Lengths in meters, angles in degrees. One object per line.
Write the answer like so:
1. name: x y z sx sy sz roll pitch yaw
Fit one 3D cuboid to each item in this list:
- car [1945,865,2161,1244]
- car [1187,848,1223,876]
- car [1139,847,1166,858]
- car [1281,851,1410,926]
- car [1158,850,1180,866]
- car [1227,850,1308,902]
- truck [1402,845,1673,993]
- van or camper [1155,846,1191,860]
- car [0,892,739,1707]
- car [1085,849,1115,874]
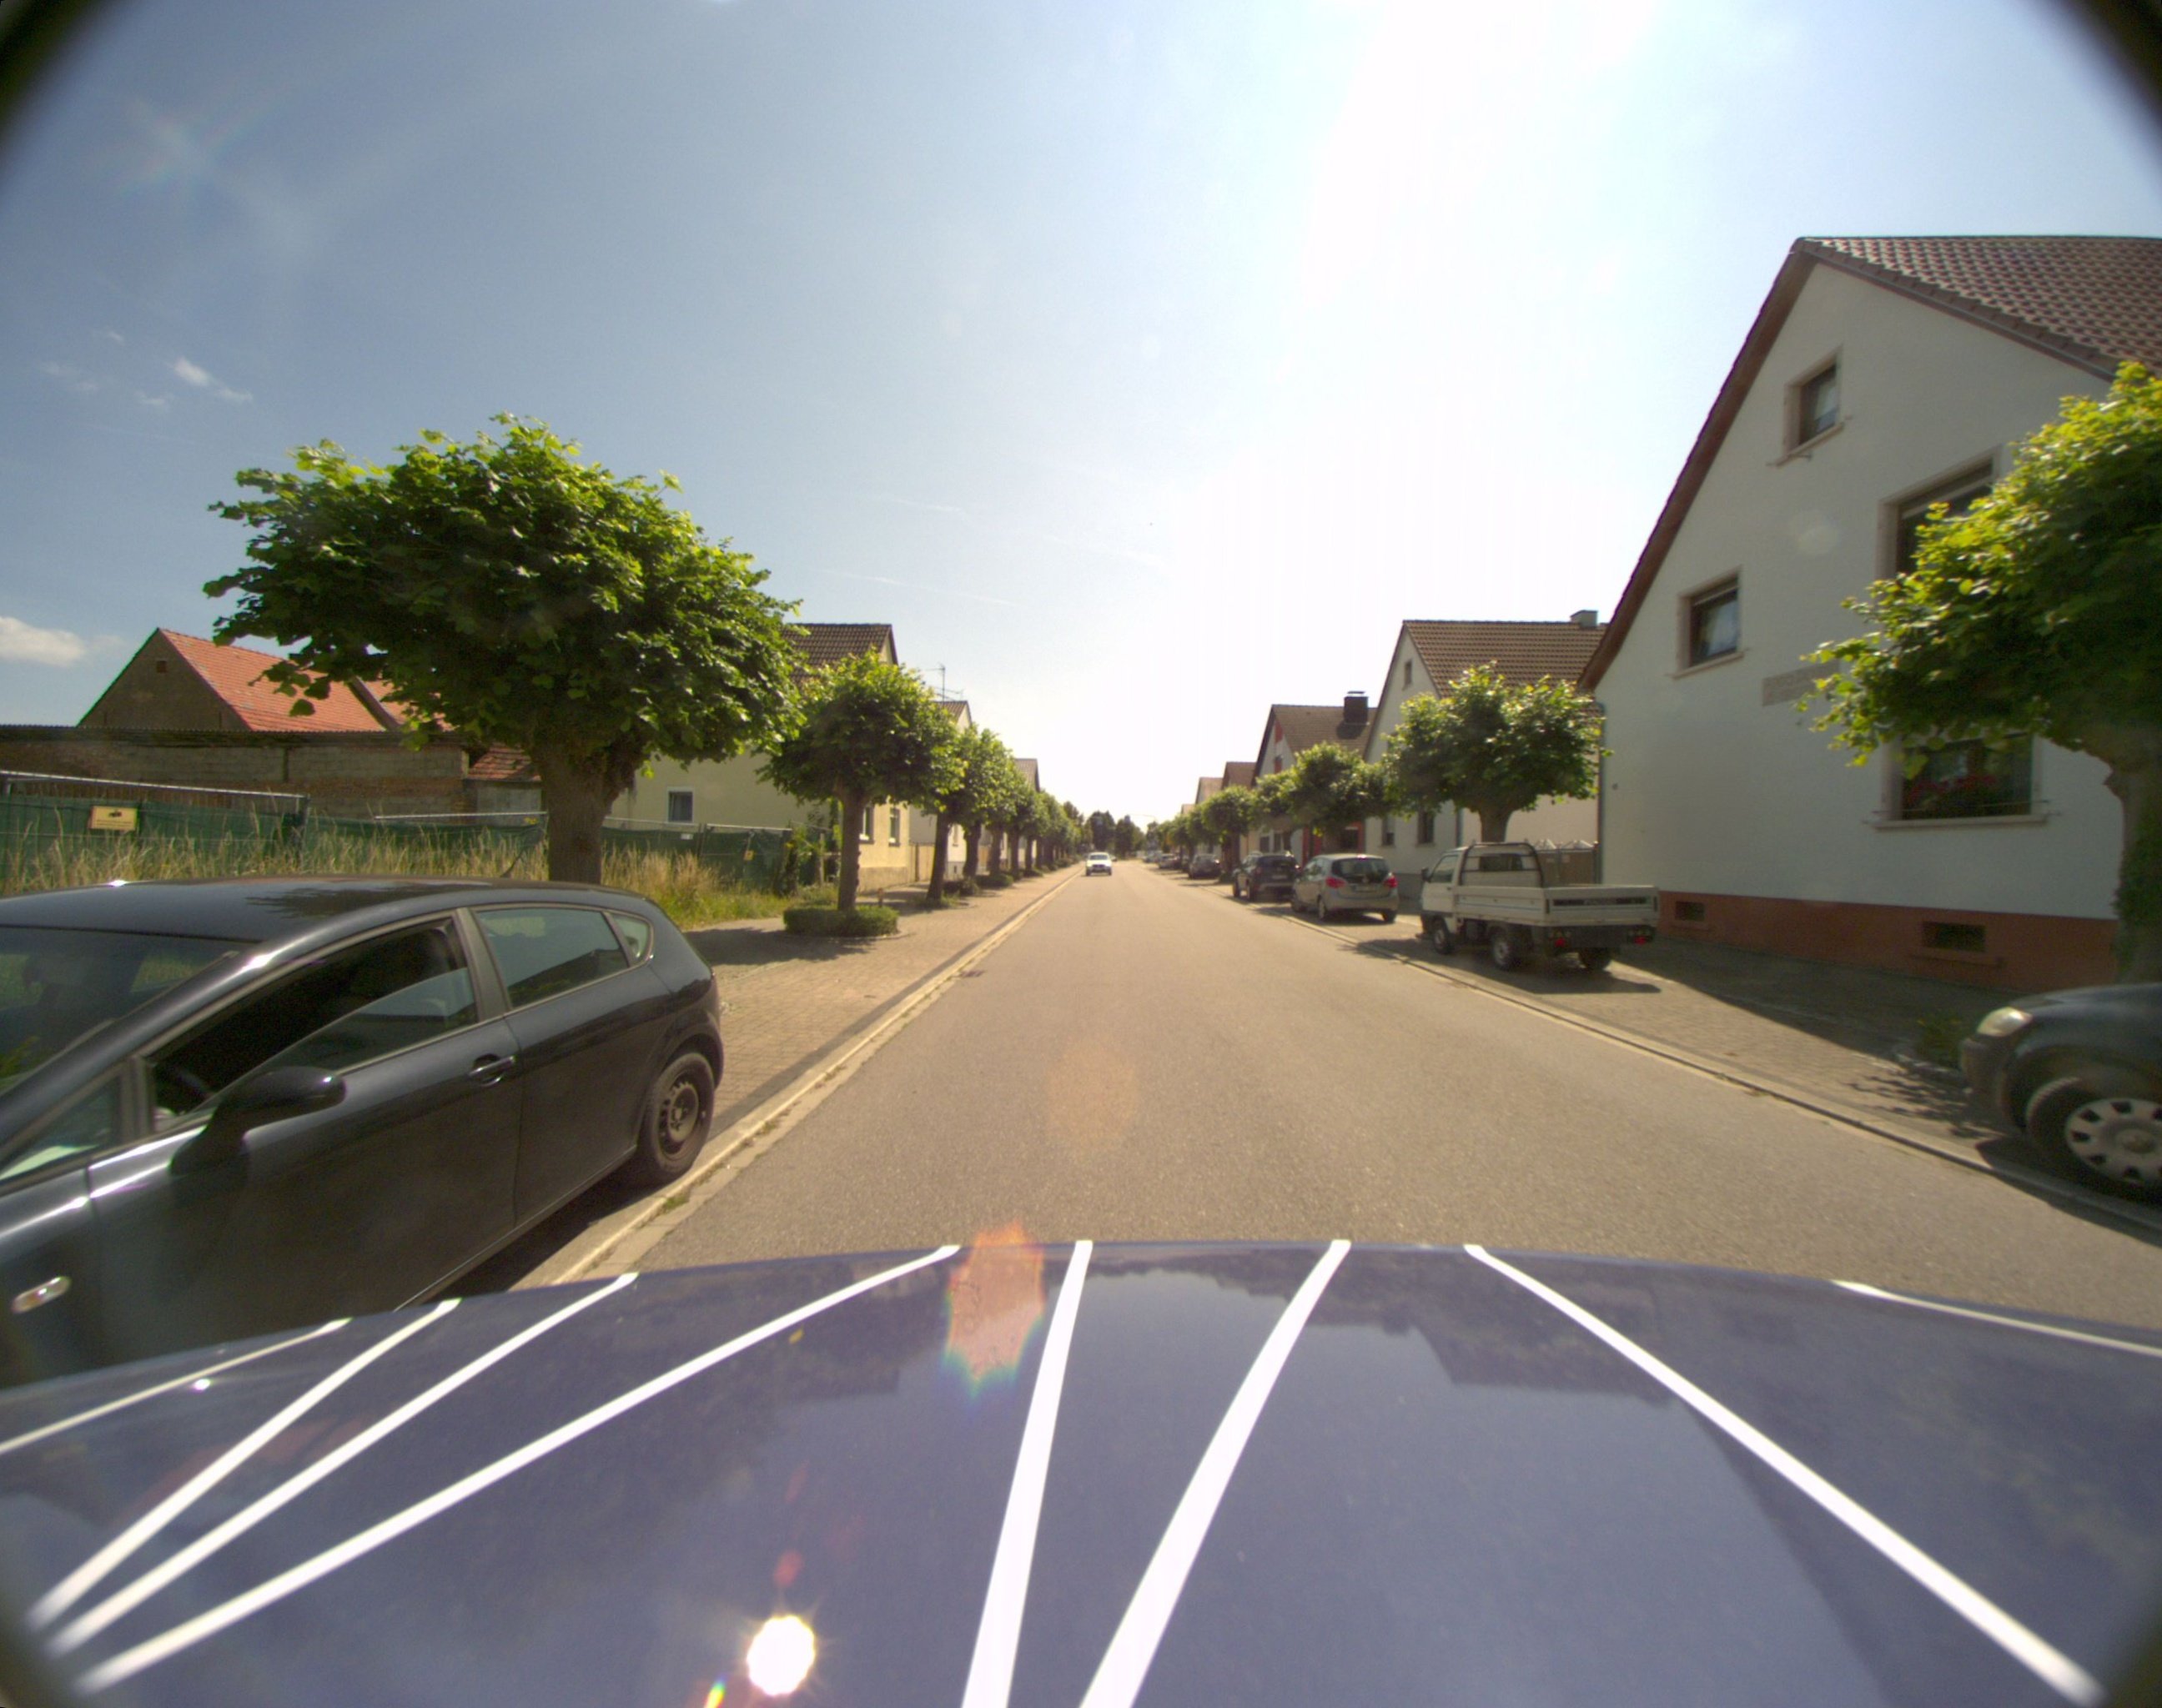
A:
1. car: 5.686 0.893 2.166 1.791 1.624 3.998 -1 1 -4
2. car: 7.708 0.461 47.526 1.857 1.603 4.135 -2 0 4
3. car: 11.999 -0.274 127.731 4.251 1.709 1.945 -2 1 -4
4. car: 6.598 0.776 19.488 1.857 1.604 4.370 -2 1 2
5. car: 8.761 0.350 75.646 1.829 1.474 4.132 -2 1 2
6. car: 6.468 0.718 26.828 1.857 1.626 4.300 -2 0 2
7. truck: 6.405 0.774 11.287 1.580 1.755 4.192 -2 1 2
8. van or camper: 12.497 -0.123 103.487 4.751 1.851 2.000 -1 0 1
9. car: -2.805 0.952 1.995 1.828 1.424 4.057 3 0 2
10. car: 1.367 0.507 53.144 1.857 1.603 4.135 -2 0 4
